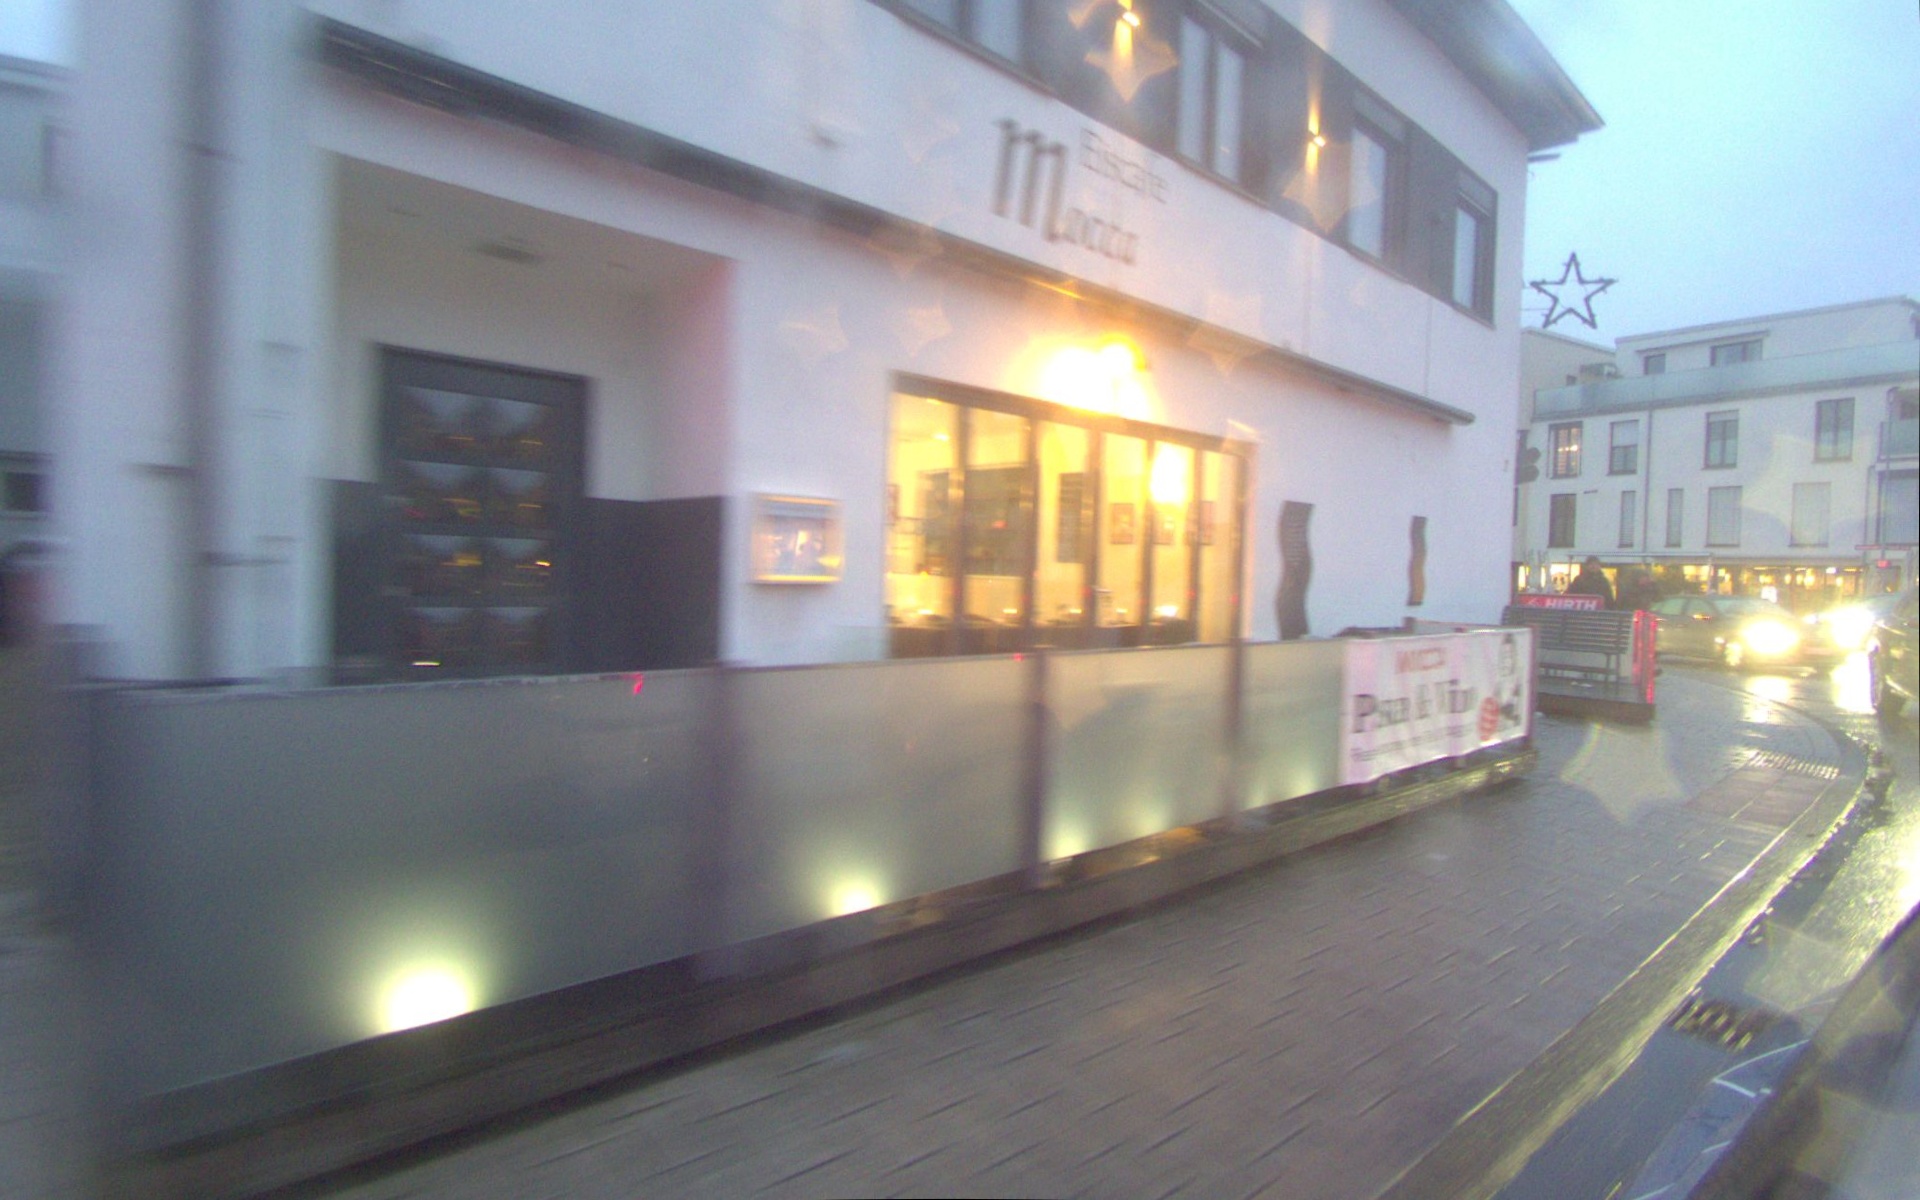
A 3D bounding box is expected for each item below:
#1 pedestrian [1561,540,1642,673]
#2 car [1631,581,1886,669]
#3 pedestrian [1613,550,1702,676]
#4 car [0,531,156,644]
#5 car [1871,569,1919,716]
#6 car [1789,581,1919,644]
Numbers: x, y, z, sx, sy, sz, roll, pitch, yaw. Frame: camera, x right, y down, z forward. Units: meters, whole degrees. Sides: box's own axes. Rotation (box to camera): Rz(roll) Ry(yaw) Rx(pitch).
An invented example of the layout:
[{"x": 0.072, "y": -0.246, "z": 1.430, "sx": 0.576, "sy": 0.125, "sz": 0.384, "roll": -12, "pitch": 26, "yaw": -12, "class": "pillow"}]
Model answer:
[{"x": 9.399, "y": 0.089, "z": 14.856, "sx": 0.697, "sy": 1.889, "sz": 0.791, "roll": -1, "pitch": 1, "yaw": 3, "class": "pedestrian"}, {"x": 15.176, "y": 0.395, "z": 19.560, "sx": 1.730, "sy": 1.498, "sz": 4.020, "roll": -1, "pitch": 1, "yaw": 0, "class": "car"}, {"x": 10.166, "y": 0.172, "z": 14.775, "sx": 0.754, "sy": 1.783, "sz": 0.791, "roll": -1, "pitch": 1, "yaw": 3, "class": "pedestrian"}, {"x": -13.628, "y": -0.246, "z": 15.488, "sx": 1.901, "sy": 1.433, "sz": 3.963, "roll": 3, "pitch": 2, "yaw": -37, "class": "car"}, {"x": 11.245, "y": 0.484, "z": 10.428, "sx": 1.943, "sy": 1.605, "sz": 4.066, "roll": 1, "pitch": 1, "yaw": 30, "class": "car"}, {"x": 24.804, "y": 0.284, "z": 26.990, "sx": 4.462, "sy": 1.497, "sz": 2.033, "roll": -2, "pitch": 2, "yaw": -17, "class": "car"}]
